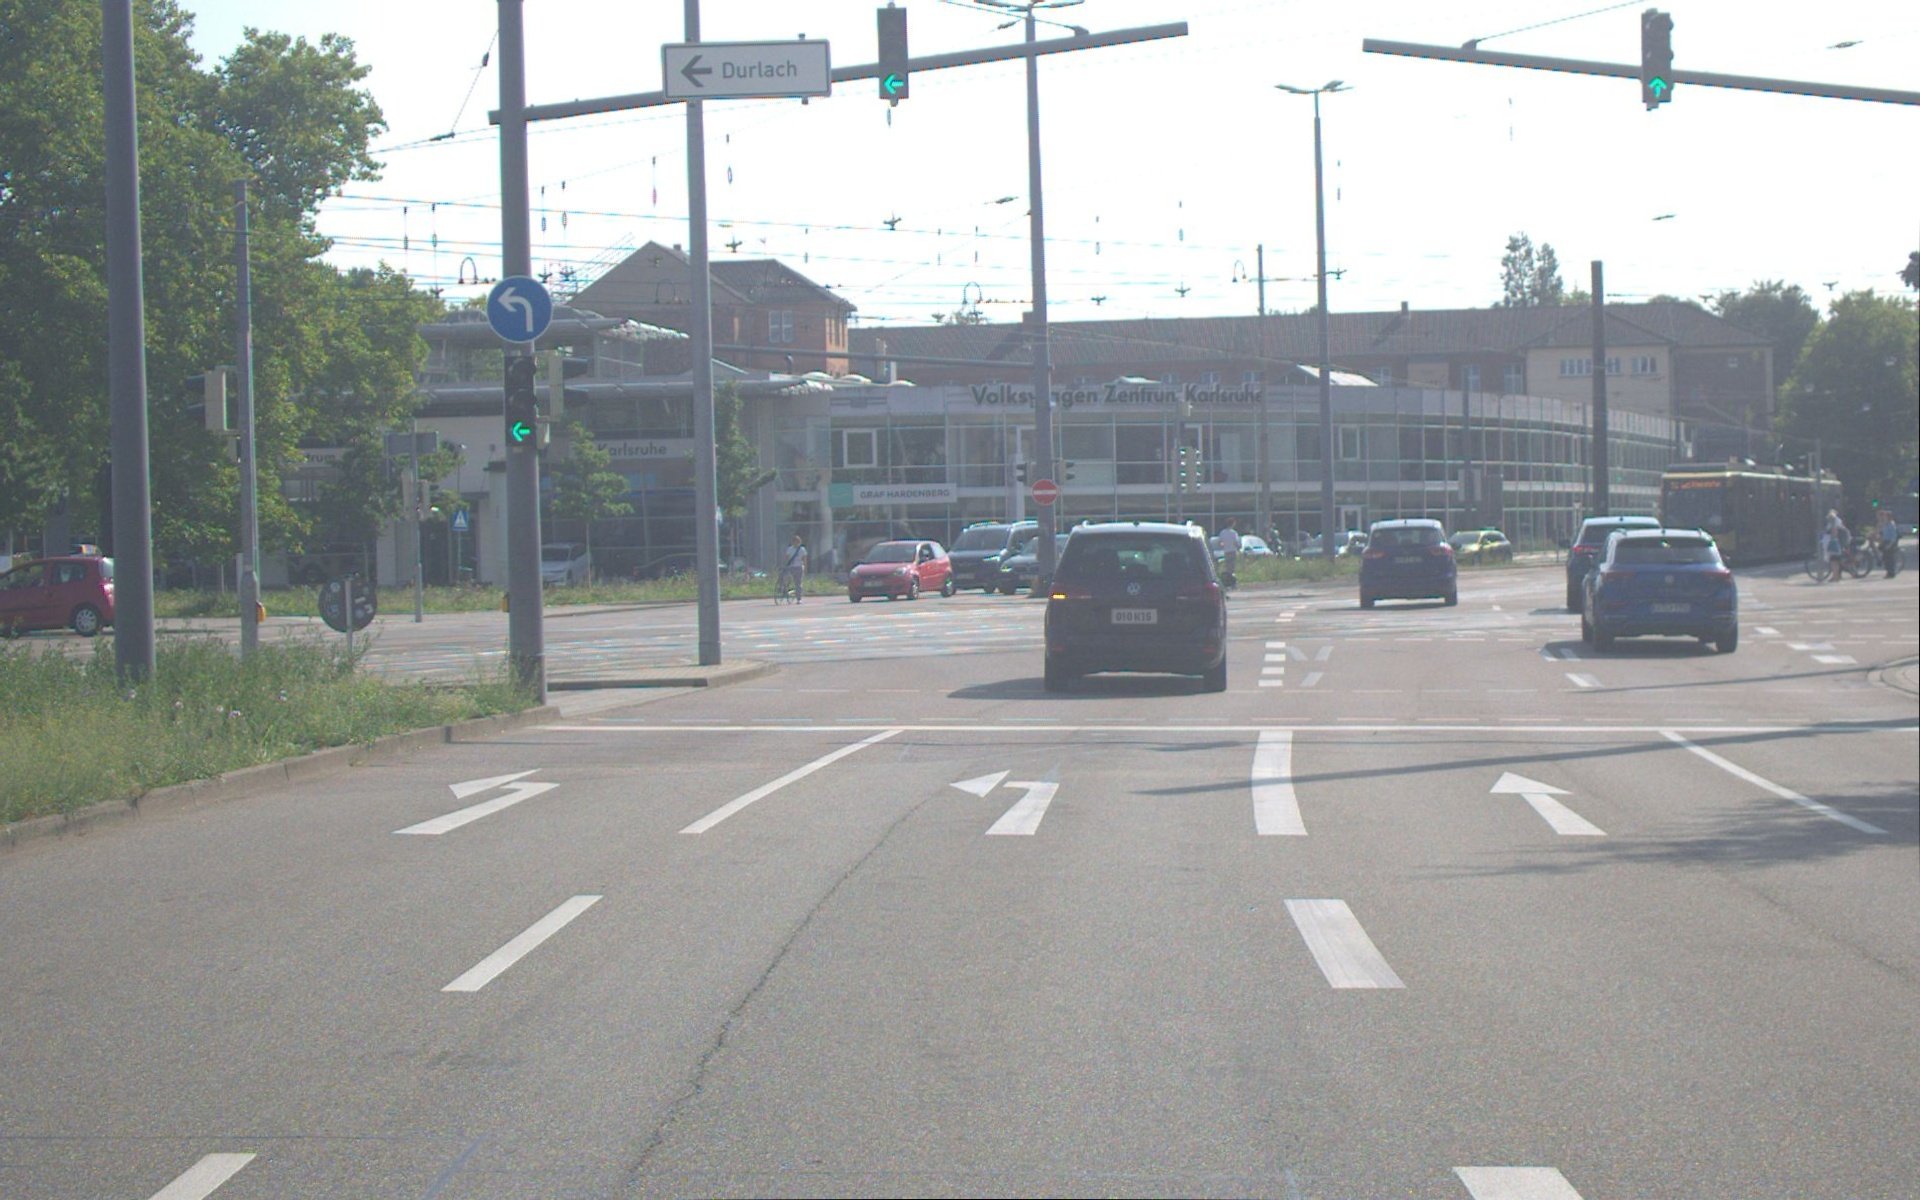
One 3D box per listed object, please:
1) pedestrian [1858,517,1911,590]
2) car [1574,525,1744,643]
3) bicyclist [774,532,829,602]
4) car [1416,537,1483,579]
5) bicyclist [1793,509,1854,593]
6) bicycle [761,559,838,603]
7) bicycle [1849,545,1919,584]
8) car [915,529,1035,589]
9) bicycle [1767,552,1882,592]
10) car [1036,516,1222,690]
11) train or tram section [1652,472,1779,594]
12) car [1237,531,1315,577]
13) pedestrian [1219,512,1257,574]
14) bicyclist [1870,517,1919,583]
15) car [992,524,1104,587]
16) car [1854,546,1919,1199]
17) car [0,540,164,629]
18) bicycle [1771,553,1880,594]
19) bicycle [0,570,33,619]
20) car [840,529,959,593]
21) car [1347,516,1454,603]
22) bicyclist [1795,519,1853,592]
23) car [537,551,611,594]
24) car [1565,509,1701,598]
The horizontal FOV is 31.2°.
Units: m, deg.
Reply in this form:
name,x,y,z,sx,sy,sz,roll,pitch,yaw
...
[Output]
name,x,y,z,sx,sy,sz,roll,pitch,yaw
pedestrian,22.966,-1.159,85.376,0.925,1.791,0.860,-2,1,-37
car,9.097,-0.251,45.024,1.826,1.423,4.411,-1,1,7
bicyclist,-3.953,-0.831,85.811,0.958,1.742,1.165,0,1,20
car,18.317,-1.579,128.494,1.616,1.470,3.996,-3,0,20
bicyclist,21.167,-1.198,84.264,0.934,2.017,1.093,-2,1,-33
bicycle,-3.991,-0.478,85.703,0.958,1.053,2.605,0,1,20
bicycle,24.175,-0.921,87.916,2.617,0.961,1.093,-1,1,-20
car,0.418,-1.119,92.073,1.962,1.470,3.996,-3,0,19
bicycle,21.763,-0.706,86.533,2.617,0.961,1.093,-1,1,-20
car,1.738,-0.020,35.988,1.825,1.708,4.412,0,1,2
train or tram section,24.282,-2.182,110.095,2.657,3.686,10.579,-1,1,19
car,10.754,-1.565,116.757,1.616,1.470,3.996,-3,0,20
pedestrian,6.788,-1.396,83.902,0.778,1.498,0.710,-1,1,18
bicyclist,23.988,-1.283,87.838,0.933,1.674,1.093,-1,1,-19
car,2.247,-1.132,86.792,1.616,1.470,3.996,-3,0,19
car,2.802,0.677,4.908,1.682,1.486,4.373,0,1,-3
car,-16.981,-0.275,62.747,4.401,1.530,1.830,-1,1,16
bicycle,21.215,-0.657,84.294,2.618,0.961,1.093,-2,1,-33
bicycle,-21.669,-0.098,75.237,2.599,1.053,0.961,-1,1,-11
car,-1.468,-0.973,84.968,1.616,1.470,3.996,-3,0,19
car,8.261,-0.787,64.208,1.826,1.530,4.411,-1,1,9
bicyclist,21.742,-1.125,86.517,0.933,1.793,1.093,-1,1,-19
car,-14.024,-1.014,125.085,1.700,1.517,4.098,-1,1,8
car,11.475,-0.817,58.872,1.826,1.423,4.411,-1,1,5
